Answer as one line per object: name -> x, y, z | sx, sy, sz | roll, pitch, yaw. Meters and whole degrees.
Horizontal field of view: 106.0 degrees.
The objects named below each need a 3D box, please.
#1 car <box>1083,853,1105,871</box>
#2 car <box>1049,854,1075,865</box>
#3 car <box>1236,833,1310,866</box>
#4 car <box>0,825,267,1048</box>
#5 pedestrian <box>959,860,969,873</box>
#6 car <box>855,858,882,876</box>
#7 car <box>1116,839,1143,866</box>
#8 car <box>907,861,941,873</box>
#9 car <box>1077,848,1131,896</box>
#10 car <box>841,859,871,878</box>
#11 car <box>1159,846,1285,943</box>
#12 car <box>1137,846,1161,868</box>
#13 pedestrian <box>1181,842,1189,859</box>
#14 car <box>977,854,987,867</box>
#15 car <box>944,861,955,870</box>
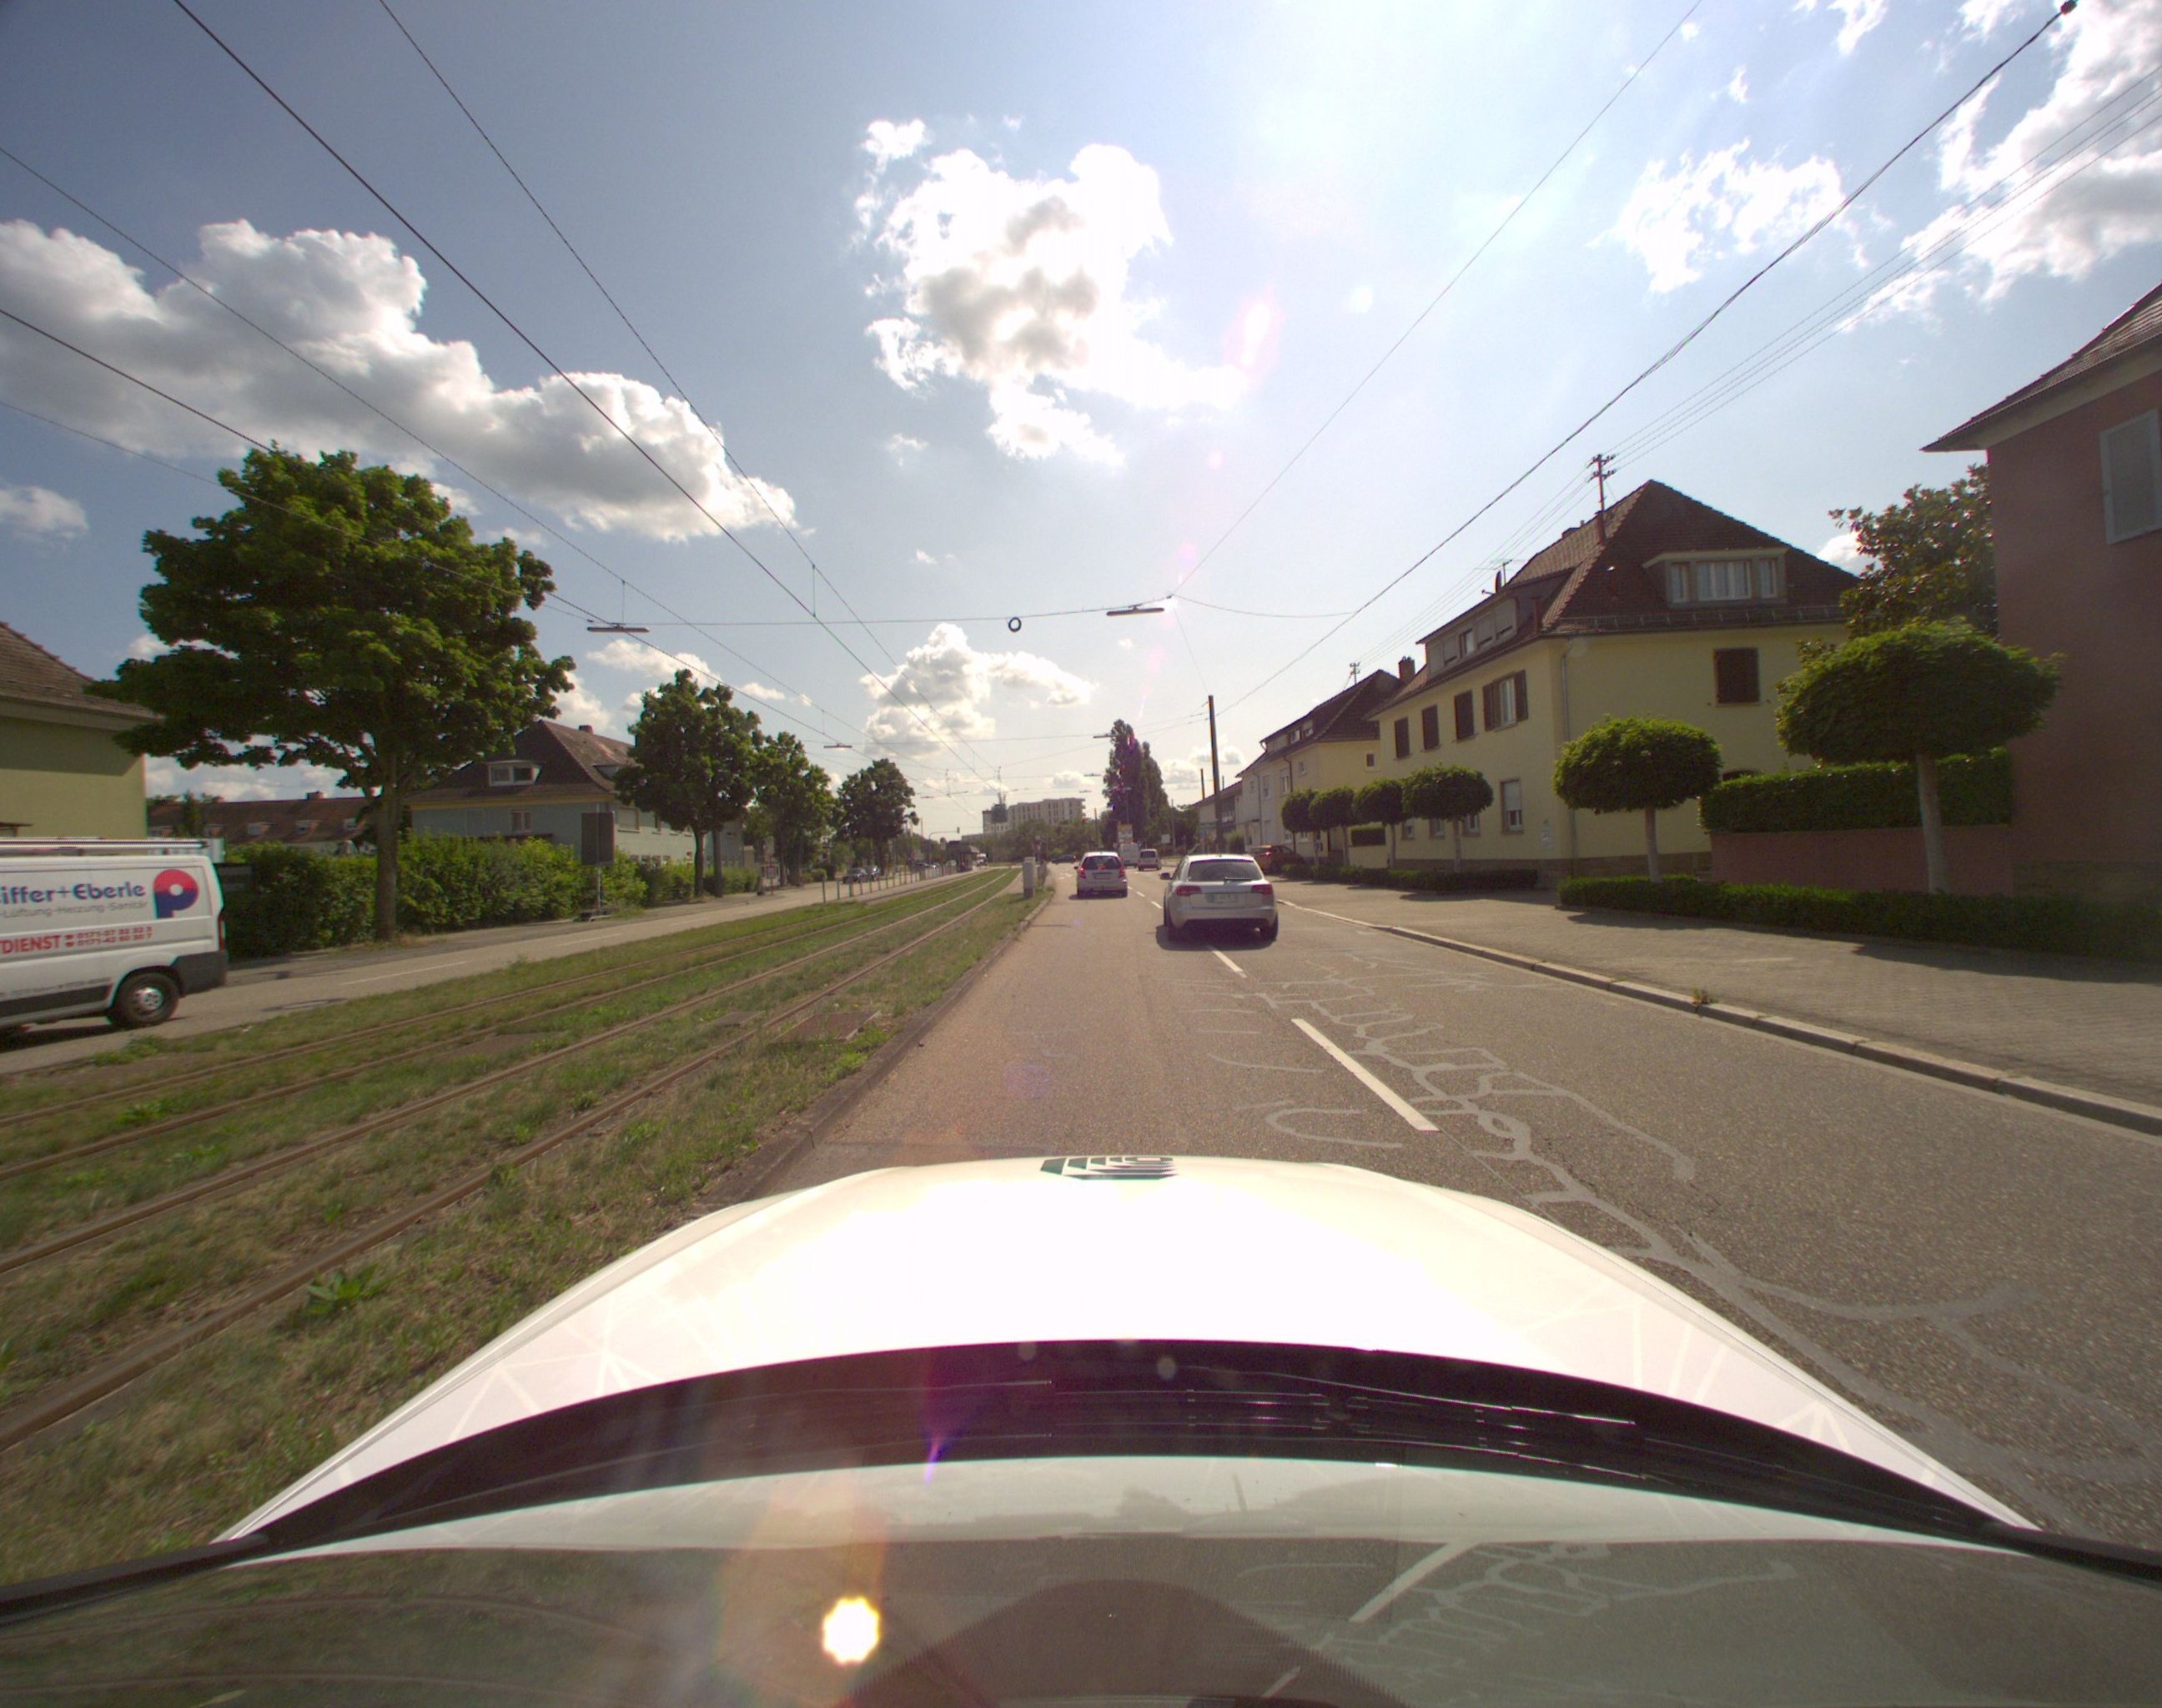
car -> 1.187, 0.726, 73.545 | 1.879, 1.530, 4.094 | -2, 0, 0
car -> -3.207, 0.905, 137.417 | 4.339, 1.738, 2.000 | -1, 0, 0
car -> 10.402, -0.249, 43.965 | 4.117, 1.457, 1.892 | -6, 3, -43
car -> -12.651, 0.958, 8.840 | 2.191, 2.372, 5.329 | -4, 0, -2
pedestrian -> -13.490, 1.444, 93.703 | 1.056, 1.376, 0.859 | -2, 0, -3
car -> -21.708, 1.323, 83.363 | 2.059, 1.614, 4.739 | -3, 1, -9
car -> 4.949, -0.162, 84.245 | 2.037, 2.557, 5.225 | -3, 0, -3
car -> -24.430, 2.039, 126.567 | 4.847, 1.660, 2.000 | -2, 0, 0
car -> 0.778, 0.585, 29.510 | 1.781, 1.576, 4.094 | -1, 1, 0
car -> -21.288, 1.365, 77.149 | 1.781, 1.584, 3.929 | -3, 0, -1
car -> 2.469, 0.632, 15.321 | 1.846, 1.492, 4.541 | -2, 0, 4
car -> 5.859, 0.232, 69.749 | 1.875, 1.730, 4.102 | -3, 0, 6
pedestrian -> 11.510, -0.360, 90.197 | 0.719, 1.782, 0.702 | -5, 0, -1
car -> -20.323, 1.385, 166.610 | 1.992, 2.606, 4.866 | -2, 0, -7
car -> -25.499, 2.295, 157.529 | 1.861, 1.651, 3.990 | -2, 0, -7
